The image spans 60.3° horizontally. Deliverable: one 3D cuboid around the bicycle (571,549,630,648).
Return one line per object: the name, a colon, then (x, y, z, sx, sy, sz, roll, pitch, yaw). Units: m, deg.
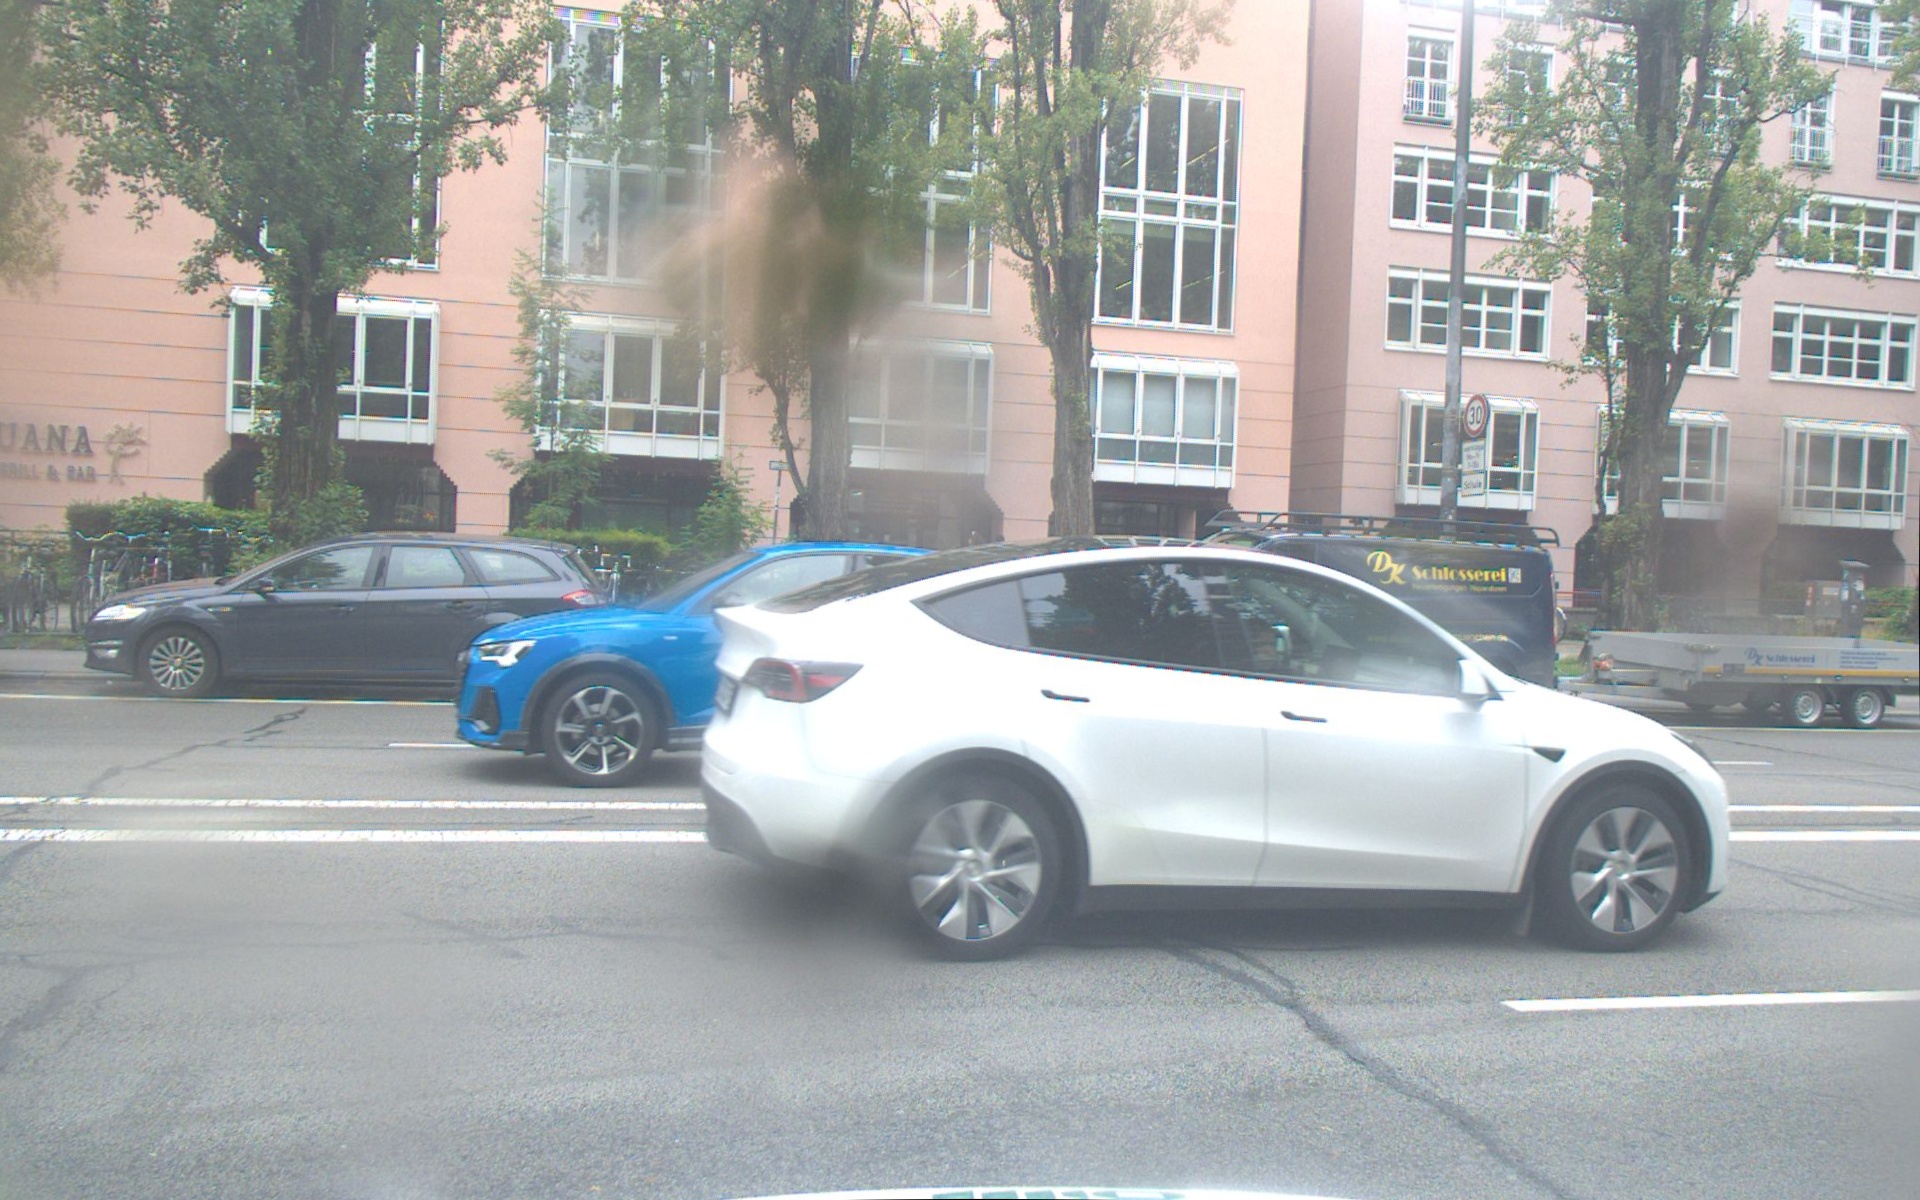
bicycle: (-4.495, -0.039, 20.628, 0.662, 1.144, 1.736, 1, 2, -13)

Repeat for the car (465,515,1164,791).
car: (-1.011, 0.358, 11.119, 4.336, 1.606, 1.864, 2, 0, -16)

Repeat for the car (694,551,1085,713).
car: (-0.783, 0.309, 17.083, 3.792, 1.473, 1.674, 2, 2, -12)

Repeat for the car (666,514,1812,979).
car: (1.087, 0.532, 7.314, 4.545, 1.602, 1.994, 2, 3, -15)

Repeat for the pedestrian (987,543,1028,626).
pedestrian: (1.021, -0.348, 35.630, 0.694, 1.743, 0.730, 2, 1, -11)

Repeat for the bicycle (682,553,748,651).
bicycle: (-3.122, 0.004, 20.973, 0.662, 1.144, 1.724, 1, 2, -13)

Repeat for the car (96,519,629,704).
car: (-5.539, 0.098, 15.875, 4.530, 1.555, 1.787, 2, 2, -14)

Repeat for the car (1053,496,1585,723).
car: (3.929, 0.107, 18.371, 5.386, 2.235, 2.017, 2, 2, -14)

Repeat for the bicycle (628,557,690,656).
bicycle: (-3.801, 0.064, 20.799, 0.662, 1.144, 1.736, 1, 2, -13)

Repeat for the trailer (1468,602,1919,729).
trailer: (9.389, 0.777, 19.792, 5.915, 1.220, 2.397, 2, 2, -13)

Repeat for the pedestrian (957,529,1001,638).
pedestrian: (0.297, -0.276, 26.234, 0.547, 1.692, 0.619, 2, 2, -10)
